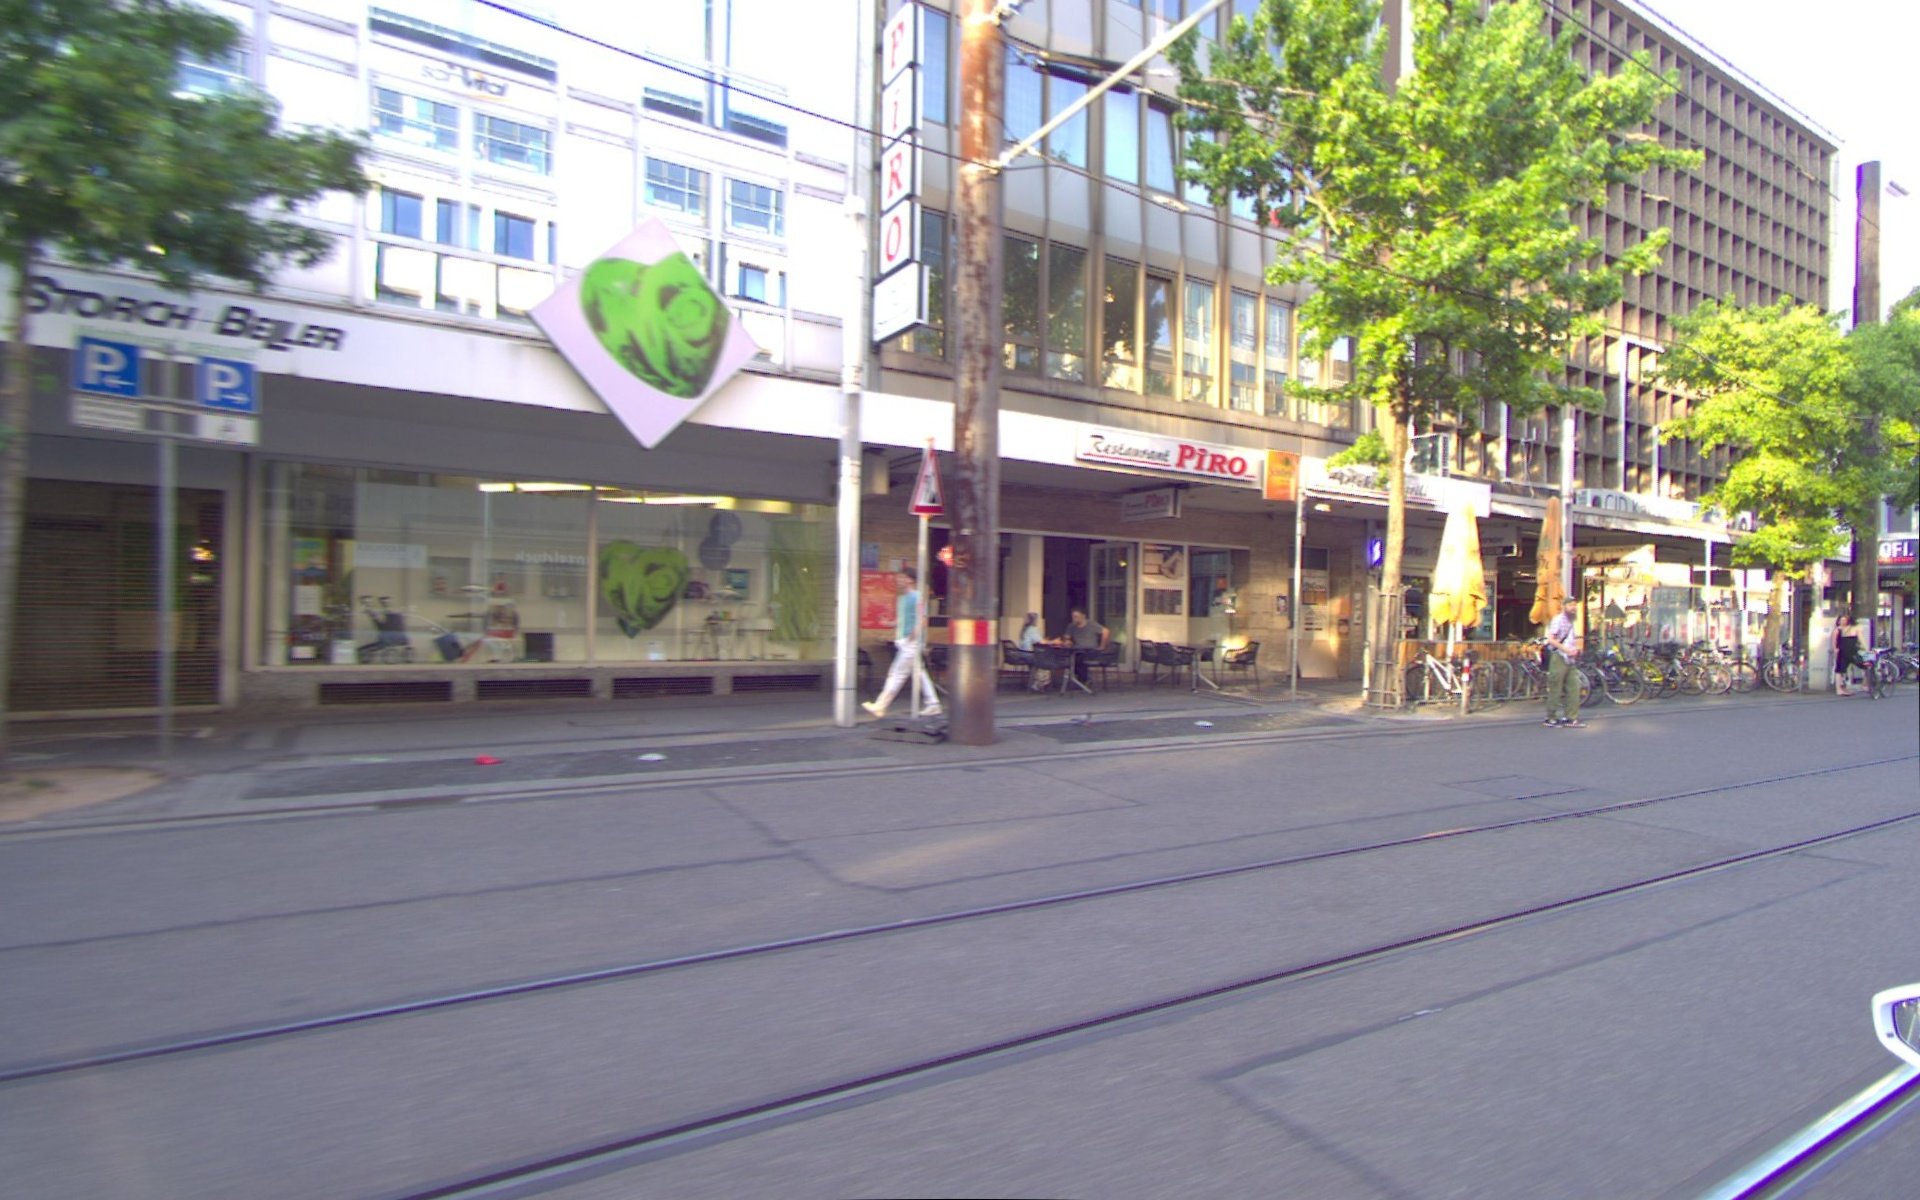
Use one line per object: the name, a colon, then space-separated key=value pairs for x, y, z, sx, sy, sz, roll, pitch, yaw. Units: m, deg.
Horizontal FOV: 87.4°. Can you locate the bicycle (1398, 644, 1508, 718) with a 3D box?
bicycle: x=7.668 y=1.238 z=15.726 sx=0.481 sy=0.978 sz=1.772 roll=2 pitch=1 yaw=-14

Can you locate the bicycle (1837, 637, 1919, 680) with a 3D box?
bicycle: x=25.334 y=1.594 z=27.598 sx=0.484 sy=1.059 sz=1.763 roll=1 pitch=1 yaw=-30

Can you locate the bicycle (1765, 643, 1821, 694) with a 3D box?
bicycle: x=18.518 y=1.505 z=22.310 sx=1.759 sy=1.059 sz=0.485 roll=1 pitch=0 yaw=-34

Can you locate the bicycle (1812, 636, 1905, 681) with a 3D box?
bicycle: x=23.763 y=1.537 z=26.601 sx=0.484 sy=1.059 sz=1.763 roll=1 pitch=1 yaw=-30

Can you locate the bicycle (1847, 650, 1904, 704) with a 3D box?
bicycle: x=19.363 y=1.603 z=21.230 sx=1.759 sy=1.059 sz=0.485 roll=1 pitch=0 yaw=-34

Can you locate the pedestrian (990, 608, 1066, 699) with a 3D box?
pedestrian: x=1.058 y=0.815 z=15.611 sx=0.902 sy=1.343 sz=0.666 roll=2 pitch=1 yaw=-33

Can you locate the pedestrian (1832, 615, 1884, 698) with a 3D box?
pedestrian: x=19.187 y=1.192 z=21.472 sx=0.525 sy=1.722 sz=0.603 roll=1 pitch=0 yaw=-2

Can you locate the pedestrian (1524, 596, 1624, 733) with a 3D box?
pedestrian: x=8.576 y=0.875 z=14.074 sx=0.806 sy=1.816 sz=0.991 roll=2 pitch=1 yaw=9

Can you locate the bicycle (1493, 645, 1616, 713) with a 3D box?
bicycle: x=10.196 y=1.331 z=17.296 sx=0.485 sy=1.003 sz=1.759 roll=0 pitch=1 yaw=-36

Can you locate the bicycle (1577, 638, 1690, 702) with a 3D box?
bicycle: x=13.205 y=1.351 z=19.749 sx=0.485 sy=1.085 sz=1.759 roll=1 pitch=1 yaw=-36

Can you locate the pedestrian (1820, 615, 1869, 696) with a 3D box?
pedestrian: x=19.417 y=1.205 z=22.054 sx=0.525 sy=1.722 sz=0.603 roll=1 pitch=0 yaw=-2

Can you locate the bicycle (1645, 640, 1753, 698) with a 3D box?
bicycle: x=15.694 y=1.441 z=21.376 sx=0.485 sy=1.085 sz=1.759 roll=1 pitch=1 yaw=-36

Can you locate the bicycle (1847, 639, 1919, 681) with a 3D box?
bicycle: x=25.839 y=1.649 z=27.869 sx=0.484 sy=1.059 sz=1.763 roll=1 pitch=1 yaw=-30

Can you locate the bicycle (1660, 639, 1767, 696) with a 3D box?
bicycle: x=16.248 y=1.434 z=21.707 sx=0.485 sy=1.085 sz=1.759 roll=1 pitch=1 yaw=-36

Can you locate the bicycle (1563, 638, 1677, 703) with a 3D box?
bicycle: x=12.730 y=1.334 z=19.431 sx=0.485 sy=1.085 sz=1.759 roll=1 pitch=1 yaw=-36

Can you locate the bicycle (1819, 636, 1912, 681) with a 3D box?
bicycle: x=24.237 y=1.555 z=26.922 sx=0.484 sy=1.059 sz=1.763 roll=1 pitch=1 yaw=-30

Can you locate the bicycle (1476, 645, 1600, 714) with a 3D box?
bicycle: x=9.757 y=1.315 z=17.014 sx=0.485 sy=1.003 sz=1.759 roll=0 pitch=1 yaw=-36

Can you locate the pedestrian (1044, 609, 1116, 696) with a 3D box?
pedestrian: x=1.952 y=0.843 z=16.416 sx=0.902 sy=1.343 sz=0.666 roll=2 pitch=1 yaw=-33

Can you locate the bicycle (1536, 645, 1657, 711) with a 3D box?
bicycle: x=11.386 y=1.373 z=18.026 sx=0.485 sy=1.003 sz=1.759 roll=0 pitch=1 yaw=-36

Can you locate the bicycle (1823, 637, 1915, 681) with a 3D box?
bicycle: x=24.442 y=1.562 z=27.045 sx=0.484 sy=1.059 sz=1.763 roll=1 pitch=1 yaw=-30

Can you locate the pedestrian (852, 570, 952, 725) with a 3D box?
pedestrian: x=-0.715 y=0.564 z=12.320 sx=0.977 sy=1.816 sz=0.682 roll=2 pitch=1 yaw=-26

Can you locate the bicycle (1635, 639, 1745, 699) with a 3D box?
bicycle: x=15.264 y=1.425 z=21.045 sx=0.485 sy=1.085 sz=1.759 roll=1 pitch=1 yaw=-36

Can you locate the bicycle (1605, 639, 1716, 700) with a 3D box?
bicycle: x=14.222 y=1.388 z=20.438 sx=0.485 sy=1.085 sz=1.759 roll=1 pitch=1 yaw=-36

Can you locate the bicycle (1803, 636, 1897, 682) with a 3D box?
bicycle: x=23.281 y=1.520 z=26.305 sx=0.484 sy=1.059 sz=1.763 roll=1 pitch=1 yaw=-30
